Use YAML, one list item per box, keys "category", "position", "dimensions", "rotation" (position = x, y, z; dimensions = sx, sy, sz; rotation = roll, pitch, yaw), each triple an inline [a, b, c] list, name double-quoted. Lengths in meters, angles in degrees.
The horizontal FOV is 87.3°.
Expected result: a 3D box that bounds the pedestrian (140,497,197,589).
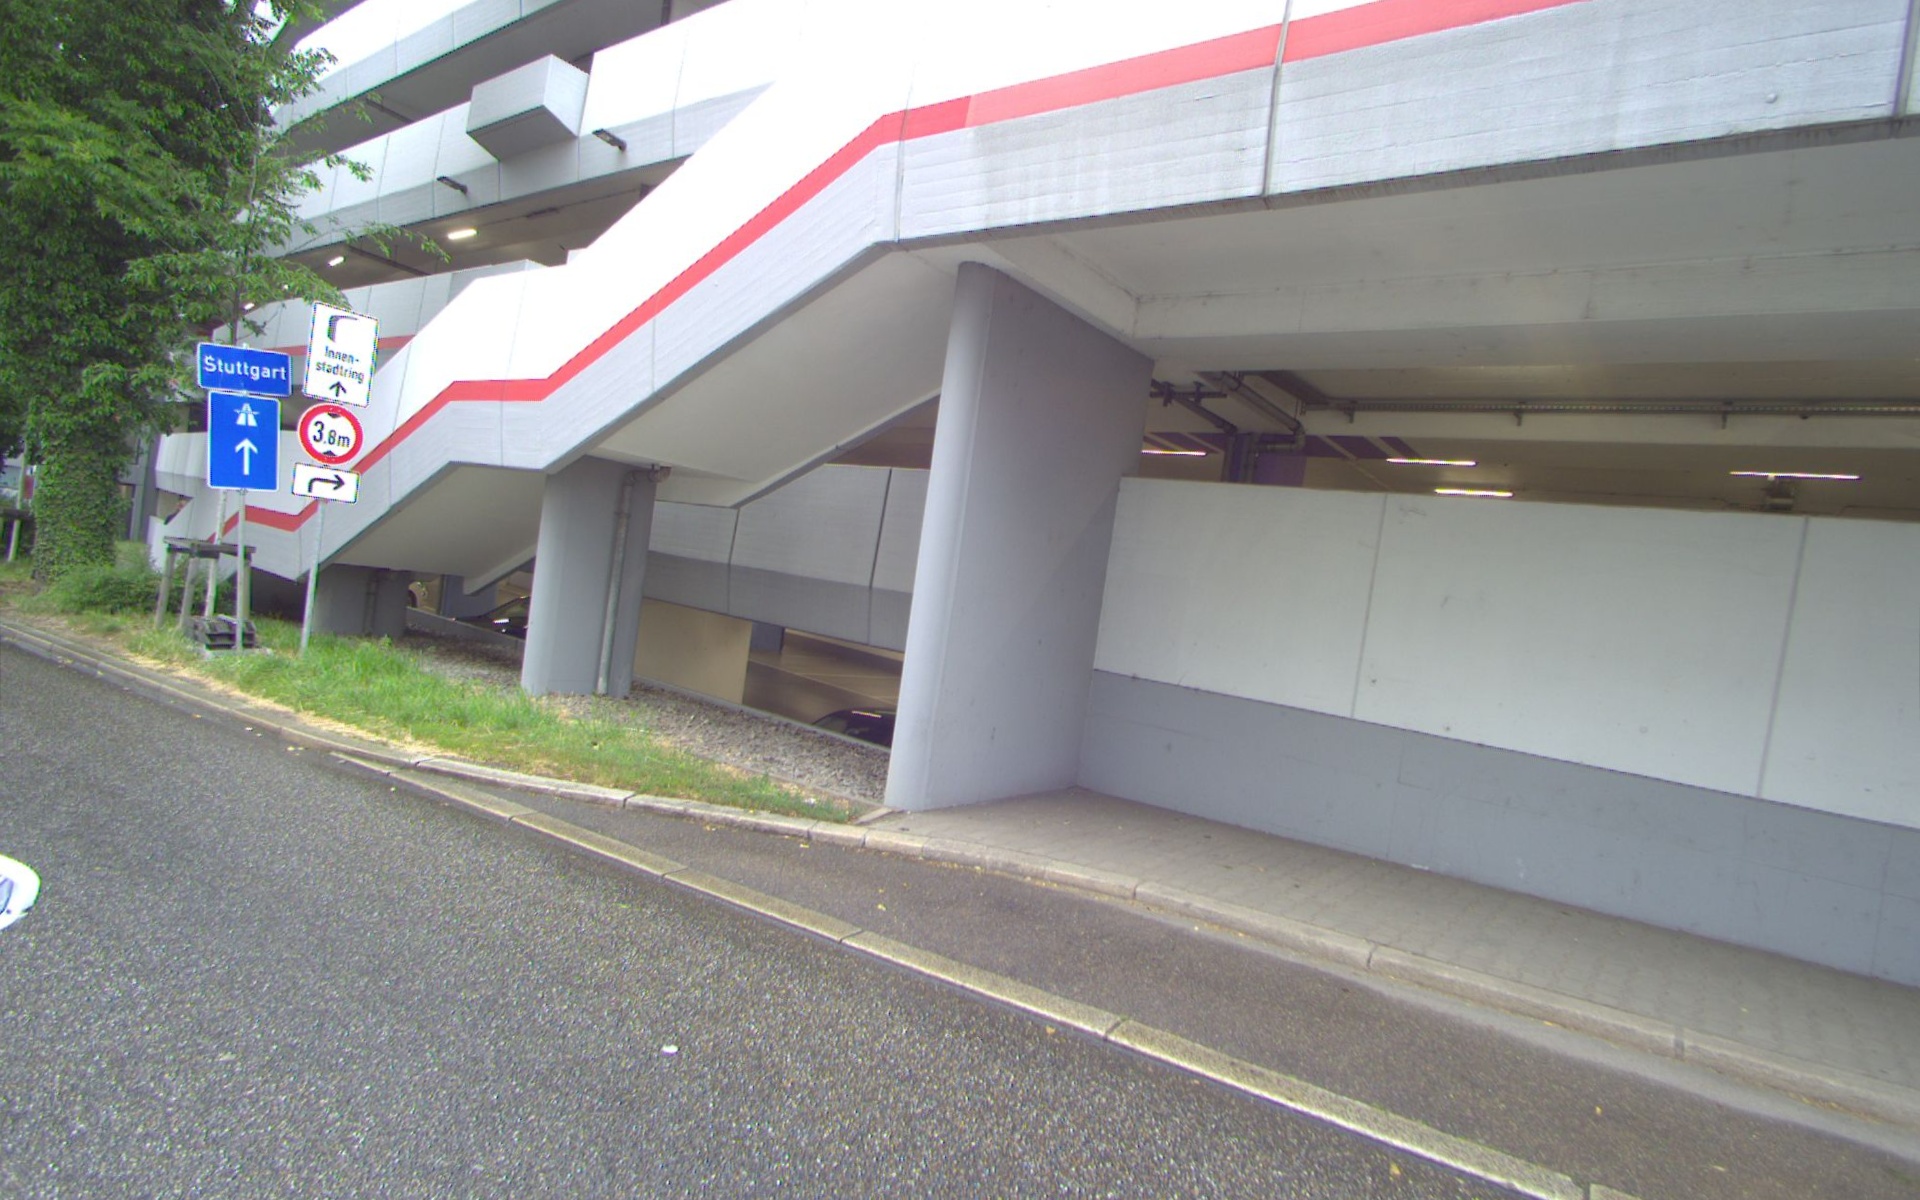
- category: "pedestrian"
  position: [-14.157, -1.013, 18.006]
  dimensions: [0.481, 1.550, 0.551]
  rotation: [6, -1, 38]
